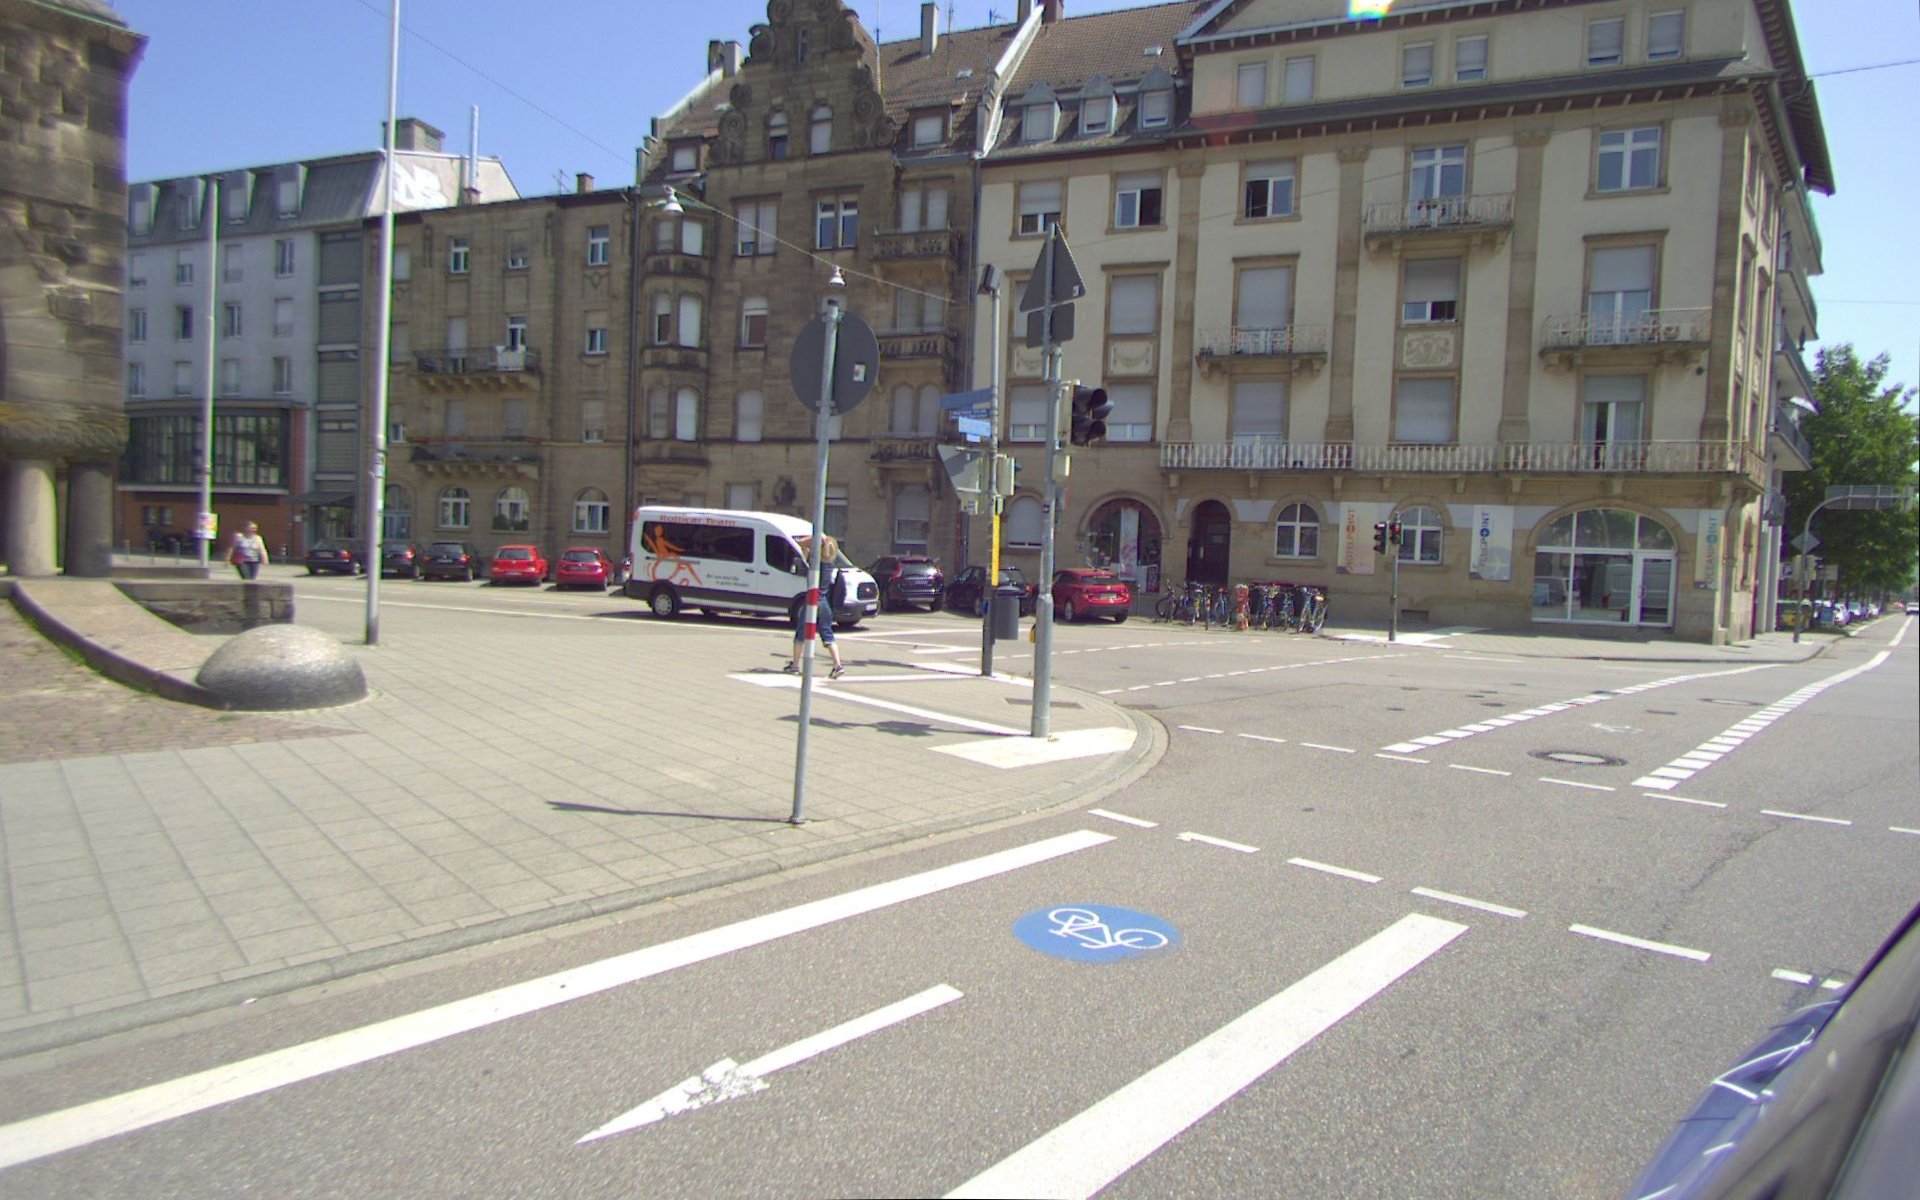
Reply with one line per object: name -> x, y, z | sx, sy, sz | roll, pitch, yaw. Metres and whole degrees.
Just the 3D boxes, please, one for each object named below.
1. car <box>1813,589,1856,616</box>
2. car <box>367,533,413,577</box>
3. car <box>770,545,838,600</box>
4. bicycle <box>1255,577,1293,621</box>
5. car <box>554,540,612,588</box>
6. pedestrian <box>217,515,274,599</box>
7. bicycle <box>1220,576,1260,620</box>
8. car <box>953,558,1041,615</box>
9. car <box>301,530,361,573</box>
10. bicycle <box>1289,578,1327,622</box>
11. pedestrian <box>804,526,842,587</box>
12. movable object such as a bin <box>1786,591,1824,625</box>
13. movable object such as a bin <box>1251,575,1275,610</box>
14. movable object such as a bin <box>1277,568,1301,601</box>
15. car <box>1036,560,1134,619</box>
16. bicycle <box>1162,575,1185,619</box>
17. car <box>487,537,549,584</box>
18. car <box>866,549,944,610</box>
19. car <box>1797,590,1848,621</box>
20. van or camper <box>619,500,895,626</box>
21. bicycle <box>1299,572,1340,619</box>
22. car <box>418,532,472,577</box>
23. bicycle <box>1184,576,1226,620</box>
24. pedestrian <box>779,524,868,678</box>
car -> 55.532, 0.129, 64.286 | 1.992, 1.550, 3.941 | 3, 3, 41
car -> -22.046, -1.790, 39.140 | 1.466, 1.593, 3.232 | -2, 5, -30
car -> -5.085, -0.945, 32.679 | 1.583, 1.593, 3.236 | -1, 4, -19
bicycle -> 9.083, -0.048, 29.258 | 0.561, 1.165, 1.784 | 2, 4, 33
car -> -13.444, -1.334, 36.216 | 1.583, 1.593, 3.236 | -1, 4, -15
pedestrian -> -13.711, -0.827, 19.422 | 0.788, 1.578, 0.711 | 2, 2, 38
bicycle -> 8.131, -0.070, 29.335 | 0.561, 1.165, 1.784 | 2, 4, 33
car -> 1.072, -0.466, 30.729 | 1.583, 1.496, 3.236 | -1, 4, -19
car -> -24.779, -1.937, 39.955 | 1.584, 1.593, 3.234 | -2, 5, -25
bicycle -> 9.977, -0.025, 28.993 | 0.561, 1.165, 1.784 | 2, 4, 33
pedestrian -> -4.946, -1.575, 36.452 | 0.851, 2.139, 1.100 | 0, 2, -38
movable object such as a bin -> 38.008, 0.346, 45.523 | 1.211, 1.453, 0.992 | 3, 2, 44
movable object such as a bin -> 9.606, -0.249, 32.044 | 0.585, 1.077, 0.664 | 2, 2, 28
movable object such as a bin -> 10.324, -0.491, 31.752 | 0.585, 1.007, 0.577 | 2, 2, 28
car -> 3.576, -0.349, 29.501 | 1.583, 1.496, 3.236 | -1, 4, -19
bicycle -> 6.128, -0.099, 29.000 | 0.557, 1.165, 1.798 | 1, 3, 15
car -> -16.184, -1.495, 37.211 | 1.583, 1.593, 3.236 | -1, 4, -15
car -> -1.770, -0.692, 31.466 | 1.583, 1.685, 3.236 | -1, 4, -19
car -> 47.088, 0.269, 55.257 | 1.992, 1.550, 3.941 | 3, 3, 41
van or camper -> -4.557, -0.882, 22.617 | 5.831, 2.491, 2.060 | 3, 2, 21
bicycle -> 9.723, -0.138, 27.327 | 0.561, 1.165, 2.036 | 2, 4, 34
car -> -19.498, -1.758, 38.432 | 1.583, 1.593, 3.235 | -2, 5, -23
bicycle -> 7.075, -0.085, 29.174 | 0.561, 1.165, 1.784 | 2, 4, 33
pedestrian -> -1.706, -0.004, 12.652 | 0.818, 1.845, 0.744 | 0, 2, -38
